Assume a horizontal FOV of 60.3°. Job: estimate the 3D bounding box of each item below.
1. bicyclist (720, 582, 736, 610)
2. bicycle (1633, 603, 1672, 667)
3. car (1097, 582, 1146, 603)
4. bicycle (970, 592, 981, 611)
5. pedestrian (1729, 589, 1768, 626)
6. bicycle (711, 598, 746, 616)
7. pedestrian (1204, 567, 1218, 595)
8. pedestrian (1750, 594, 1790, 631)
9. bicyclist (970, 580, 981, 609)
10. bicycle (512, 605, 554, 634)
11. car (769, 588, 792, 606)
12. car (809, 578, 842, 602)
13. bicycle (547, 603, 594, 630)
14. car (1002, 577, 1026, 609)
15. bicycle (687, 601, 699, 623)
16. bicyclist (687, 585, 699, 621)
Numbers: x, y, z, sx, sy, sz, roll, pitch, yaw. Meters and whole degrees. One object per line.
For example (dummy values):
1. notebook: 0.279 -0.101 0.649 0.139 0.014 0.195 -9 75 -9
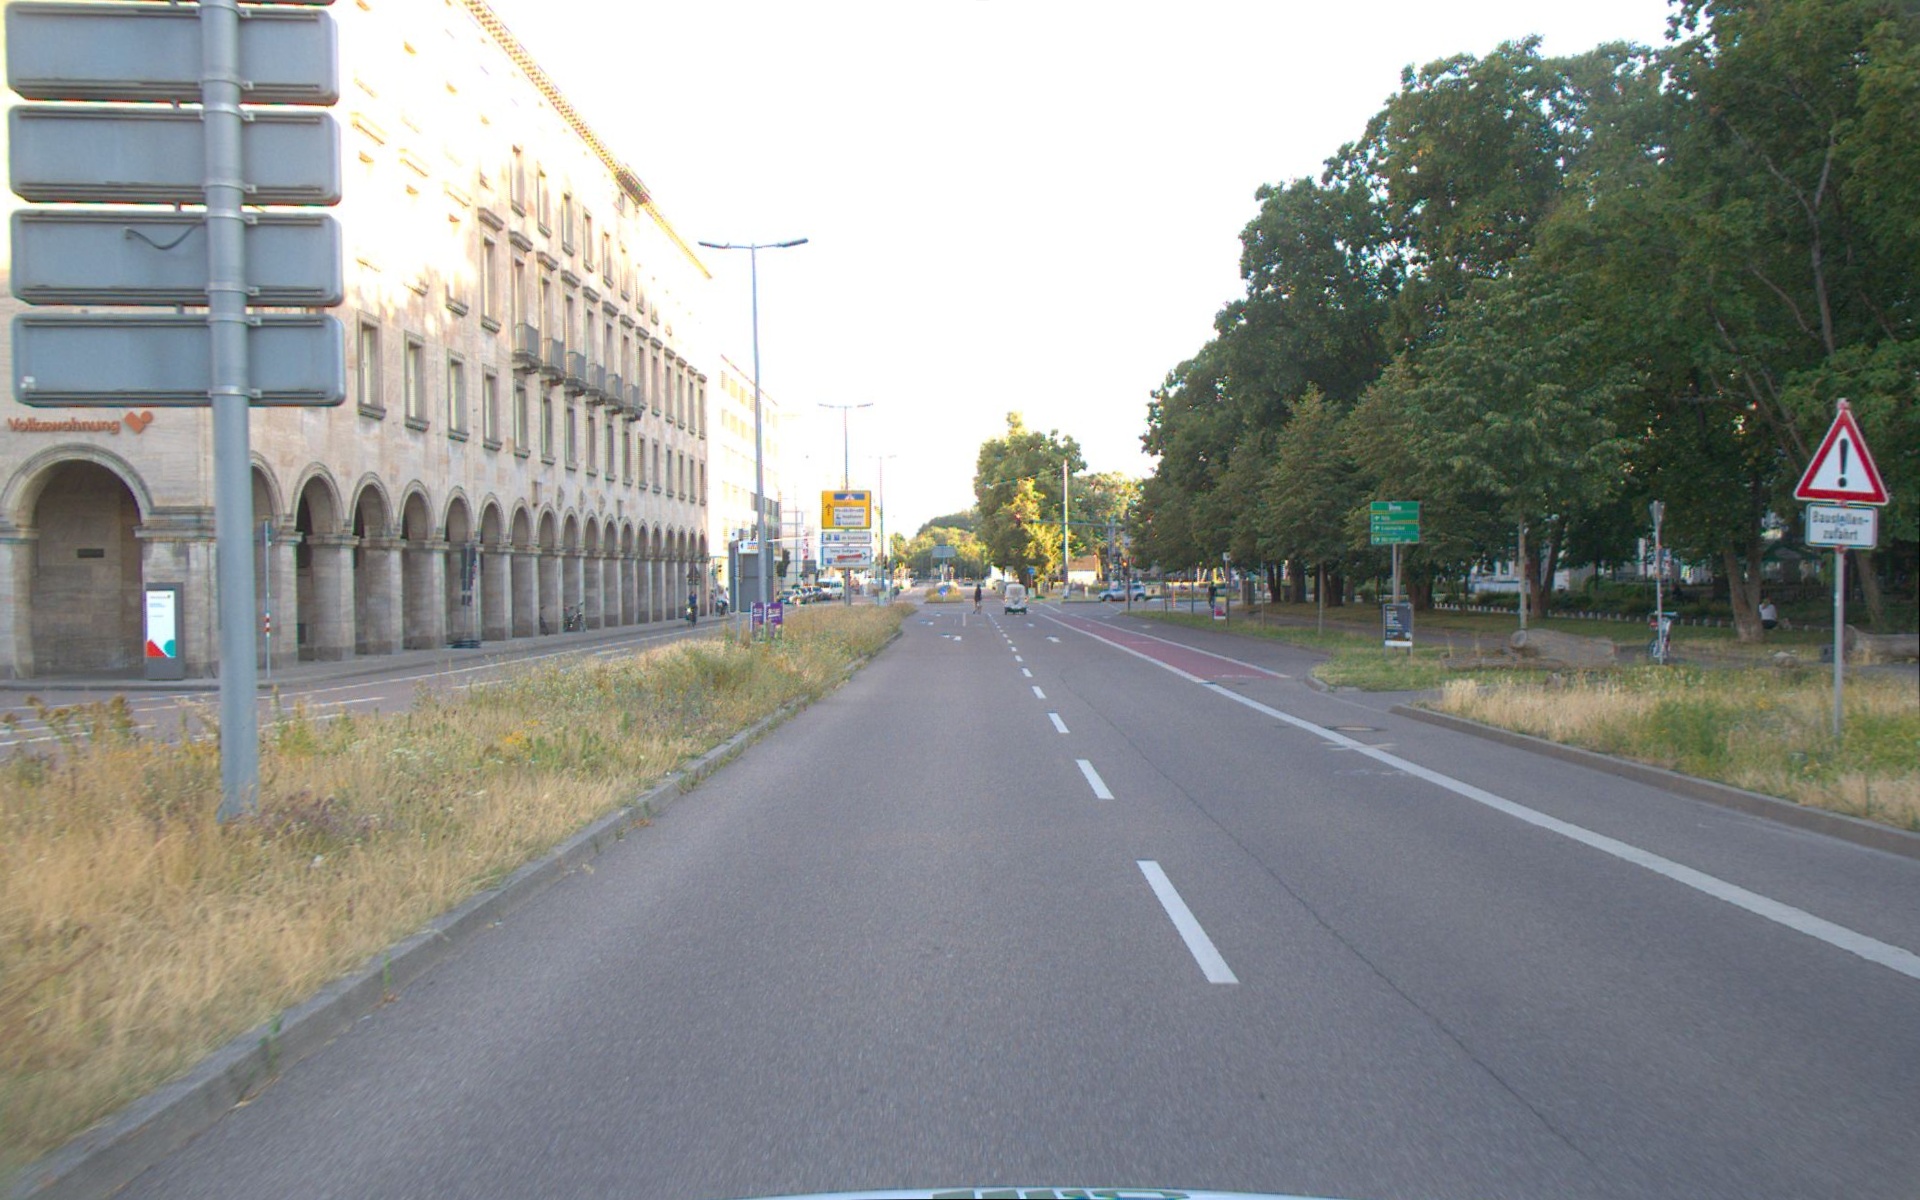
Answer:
1. bicyclist: -14.523 -0.246 103.452 0.730 1.723 0.765 -1 0 17
2. bicycle: 12.434 0.614 29.710 0.484 1.023 1.899 -3 0 19
3. car: 13.211 -0.634 135.556 3.904 1.601 2.001 -1 0 3
4. bicycle: 0.922 0.090 98.670 0.624 1.087 2.069 0 1 0
5. pedestrian: 20.085 0.191 42.121 0.670 0.900 0.588 -1 0 -25
6. bicycle: -14.468 0.420 103.448 2.014 1.087 0.787 -1 0 17
7. pedestrian: 15.438 -1.172 101.646 0.681 1.723 0.748 -1 0 -1
8. pedestrian: 20.372 0.314 41.586 0.670 0.900 0.619 -1 0 -24
9. bicyclist: 0.907 -0.337 98.352 0.615 1.723 0.748 -1 0 -1
10. bicycle: -15.795 0.705 61.209 0.467 1.023 2.006 -1 1 18
11. car: -17.003 -0.254 156.556 1.759 1.501 3.999 -1 -2 -1
12. car: -15.255 -1.133 187.344 2.130 2.427 5.994 -1 -2 11
13. bicycle: -15.603 0.660 66.249 0.469 1.023 1.998 -1 1 35
14. car: 3.205 -0.405 98.097 1.429 1.811 2.565 0 2 2
15. bicycle: -12.937 0.569 80.051 0.532 1.023 2.000 -1 -1 -10
16. bicyclist: -12.967 0.131 80.202 0.527 1.723 0.747 -1 0 -10
